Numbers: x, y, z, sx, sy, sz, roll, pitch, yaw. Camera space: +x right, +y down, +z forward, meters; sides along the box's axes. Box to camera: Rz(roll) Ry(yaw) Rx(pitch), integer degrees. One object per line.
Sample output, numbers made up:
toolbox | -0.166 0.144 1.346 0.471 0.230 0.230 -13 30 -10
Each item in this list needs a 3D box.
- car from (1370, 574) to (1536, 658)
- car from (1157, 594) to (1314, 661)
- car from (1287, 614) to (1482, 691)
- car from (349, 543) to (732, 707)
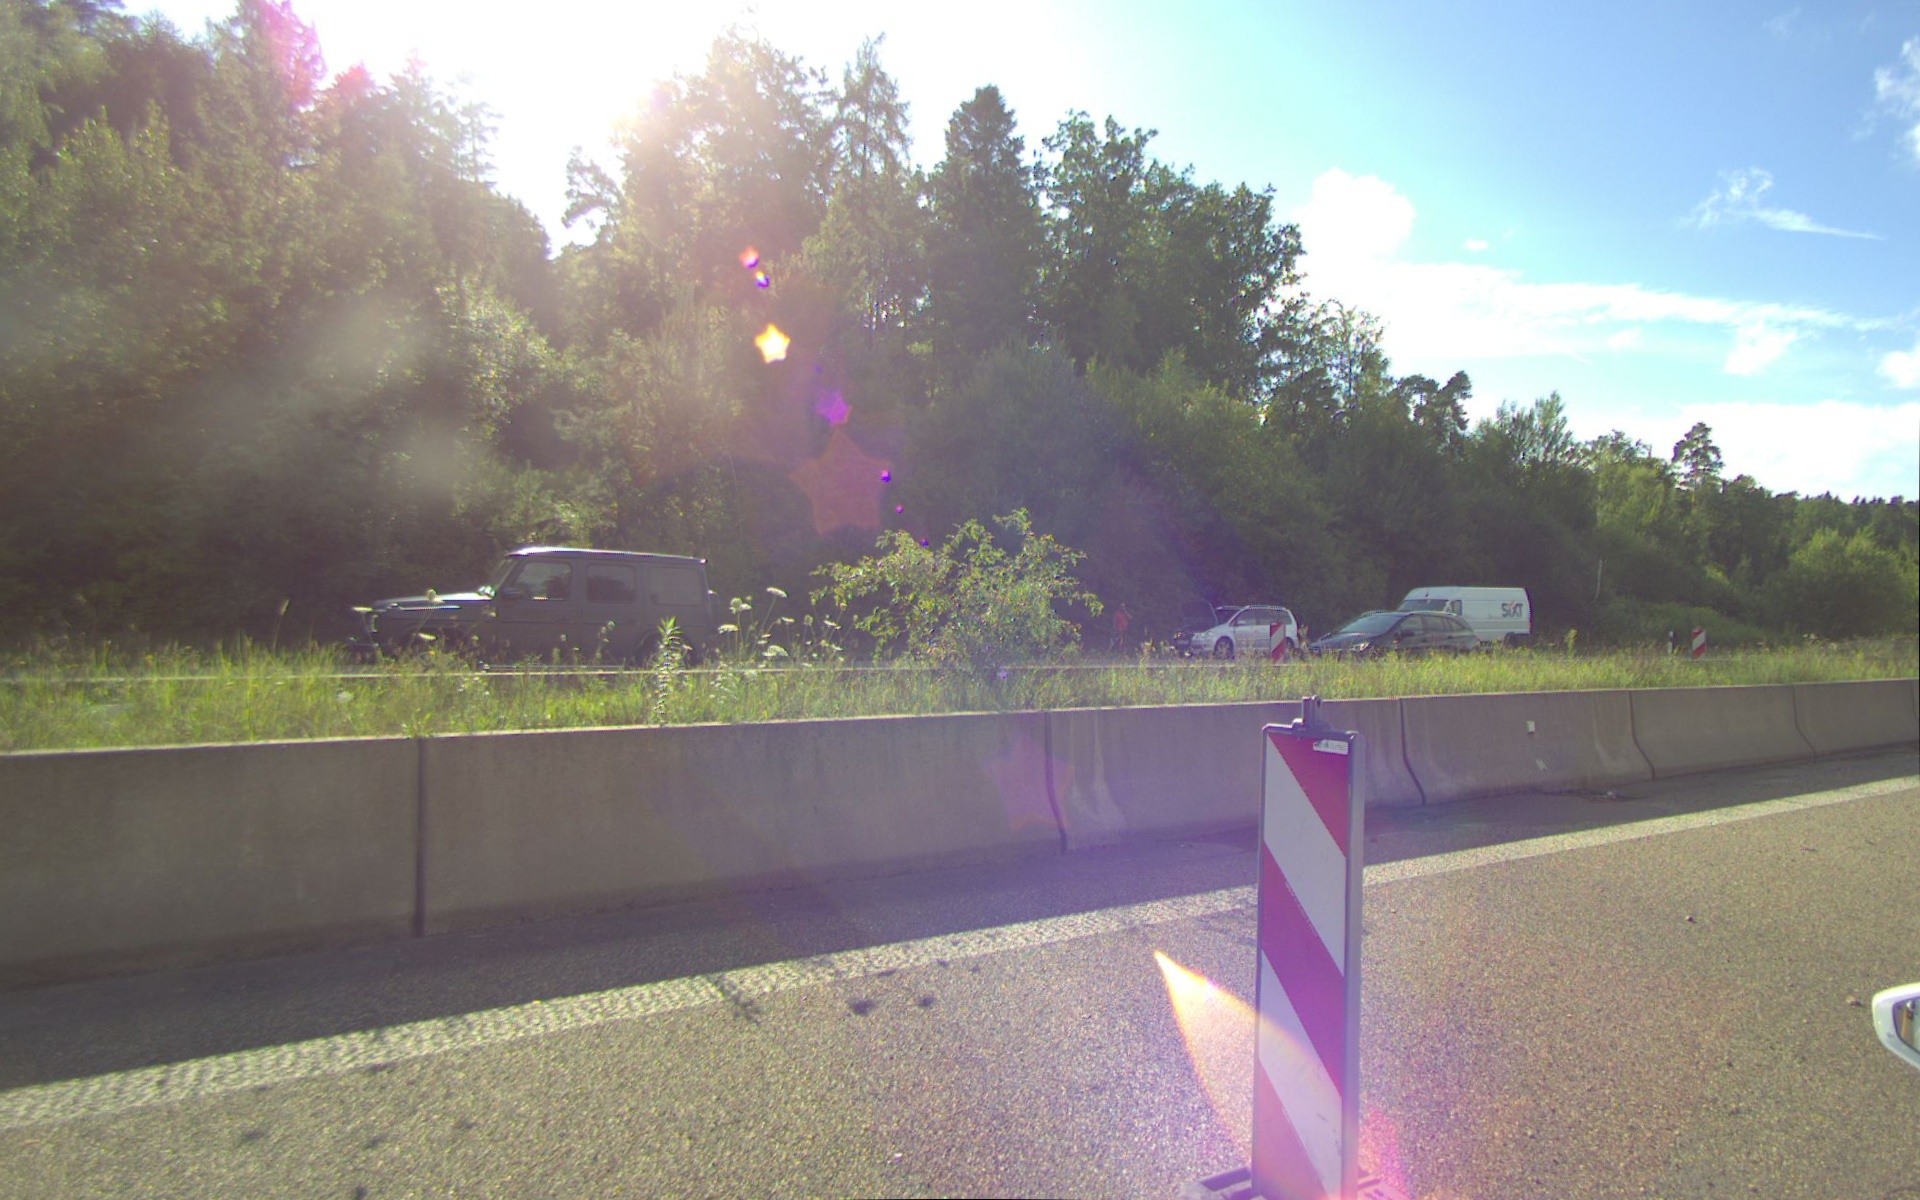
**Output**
car | 17.413 0.611 35.339 6.447 2.720 2.018 2 0 -31
car | 8.439 0.850 30.689 4.706 1.878 1.851 2 0 -31
car | 9.129 1.098 21.551 4.057 1.476 1.769 2 0 -30
car | -5.627 0.353 13.742 4.564 1.928 1.769 2 0 -31
